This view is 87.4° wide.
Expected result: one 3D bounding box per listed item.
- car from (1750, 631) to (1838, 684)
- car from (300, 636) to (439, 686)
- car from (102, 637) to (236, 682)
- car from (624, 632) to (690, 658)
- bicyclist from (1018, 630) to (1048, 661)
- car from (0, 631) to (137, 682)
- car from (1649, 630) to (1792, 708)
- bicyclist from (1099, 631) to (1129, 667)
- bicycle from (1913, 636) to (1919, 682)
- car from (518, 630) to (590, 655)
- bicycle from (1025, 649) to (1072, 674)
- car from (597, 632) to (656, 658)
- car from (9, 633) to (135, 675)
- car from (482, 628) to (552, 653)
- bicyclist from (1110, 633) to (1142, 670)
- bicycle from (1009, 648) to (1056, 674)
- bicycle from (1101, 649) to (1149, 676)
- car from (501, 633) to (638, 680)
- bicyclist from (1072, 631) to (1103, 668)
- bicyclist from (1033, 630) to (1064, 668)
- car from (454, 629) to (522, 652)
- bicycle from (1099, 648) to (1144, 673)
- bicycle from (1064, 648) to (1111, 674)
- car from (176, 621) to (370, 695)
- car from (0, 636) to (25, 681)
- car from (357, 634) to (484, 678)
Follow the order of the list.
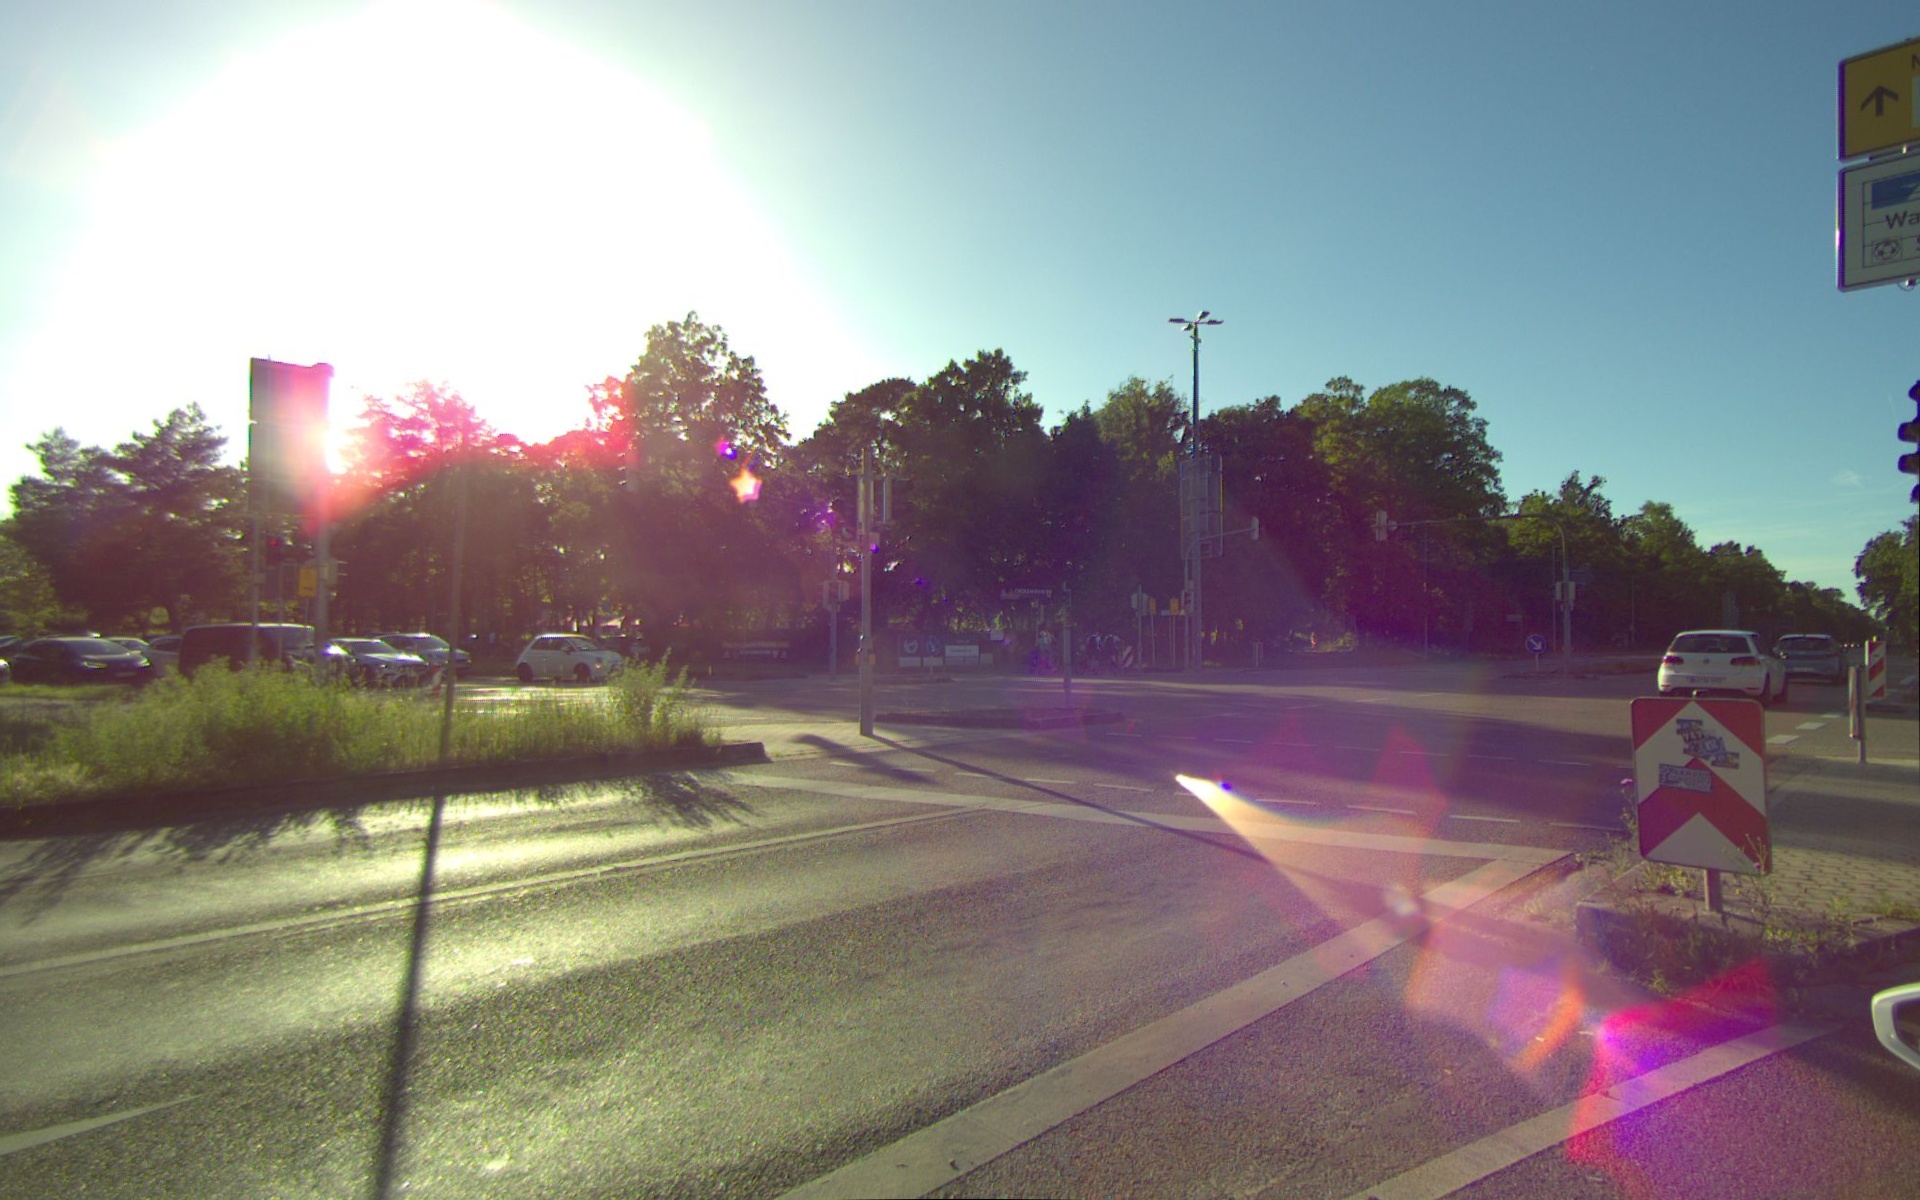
[{"bbox_3d":[26.078,1.750,31.368,1.972,1.557,3.979,-1,-2,42],"label":"car"},{"bbox_3d":[-17.793,1.808,30.271,3.725,1.407,1.648,0,-2,21],"label":"car"},{"bbox_3d":[-26.435,1.970,33.575,3.725,1.407,1.854,0,-2,21],"label":"car"},{"bbox_3d":[-19.428,2.850,64.531,1.779,1.620,4.194,0,-2,24],"label":"car"},{"bbox_3d":[2.857,1.772,39.310,0.982,1.208,0.709,2,-2,-40],"label":"bicyclist"},{"bbox_3d":[-26.656,1.639,29.804,3.725,1.407,1.854,0,-2,21],"label":"car"},{"bbox_3d":[15.748,1.349,20.724,1.920,1.433,3.976,-1,-3,44],"label":"car"},{"bbox_3d":[6.048,1.911,39.348,0.982,1.360,0.709,2,-2,-40],"label":"bicyclist"},{"bbox_3d":[30.547,1.818,30.202,2.587,1.401,0.969,1,-1,15],"label":"bicycle"},{"bbox_3d":[-26.726,2.775,66.295,1.783,1.620,4.140,-1,-2,33],"label":"car"},{"bbox_3d":[3.410,2.360,38.578,1.895,0.926,0.709,2,-2,-41],"label":"bicycle"},{"bbox_3d":[-21.730,2.910,65.567,1.779,1.620,3.500,0,-2,24],"label":"car"},{"bbox_3d":[-31.607,1.895,35.775,3.725,1.407,1.854,0,-2,21],"label":"car"},{"bbox_3d":[-29.870,2.711,67.845,1.783,1.620,3.961,-1,-2,33],"label":"car"},{"bbox_3d":[6.106,1.878,36.866,0.982,1.356,0.709,2,-2,-40],"label":"bicyclist"},{"bbox_3d":[2.855,2.372,39.293,1.895,0.926,0.709,1,-1,-41],"label":"bicycle"},{"bbox_3d":[6.058,2.276,36.821,1.895,0.926,0.709,2,-2,-41],"label":"bicycle"},{"bbox_3d":[-12.393,1.764,31.900,3.725,1.407,1.928,0,-2,21],"label":"car"},{"bbox_3d":[4.850,1.879,38.249,0.982,1.373,0.709,2,-2,-40],"label":"bicyclist"},{"bbox_3d":[3.384,1.871,38.570,0.982,1.408,0.704,2,-2,-40],"label":"bicyclist"},{"bbox_3d":[-33.333,2.847,71.031,1.783,1.620,3.961,-1,-2,33],"label":"car"},{"bbox_3d":[6.389,2.369,39.635,1.895,0.926,0.709,2,-2,-41],"label":"bicycle"},{"bbox_3d":[4.849,2.319,38.243,1.895,0.926,0.709,2,-2,-41],"label":"bicycle"},{"bbox_3d":[-18.628,1.519,27.246,4.837,1.854,1.928,0,-2,21],"label":"car"},{"bbox_3d":[-32.226,1.862,32.196,3.725,1.407,1.854,0,-2,21],"label":"car"},{"bbox_3d":[-18.530,1.894,34.533,3.725,1.407,1.854,0,-2,21],"label":"car"}]
